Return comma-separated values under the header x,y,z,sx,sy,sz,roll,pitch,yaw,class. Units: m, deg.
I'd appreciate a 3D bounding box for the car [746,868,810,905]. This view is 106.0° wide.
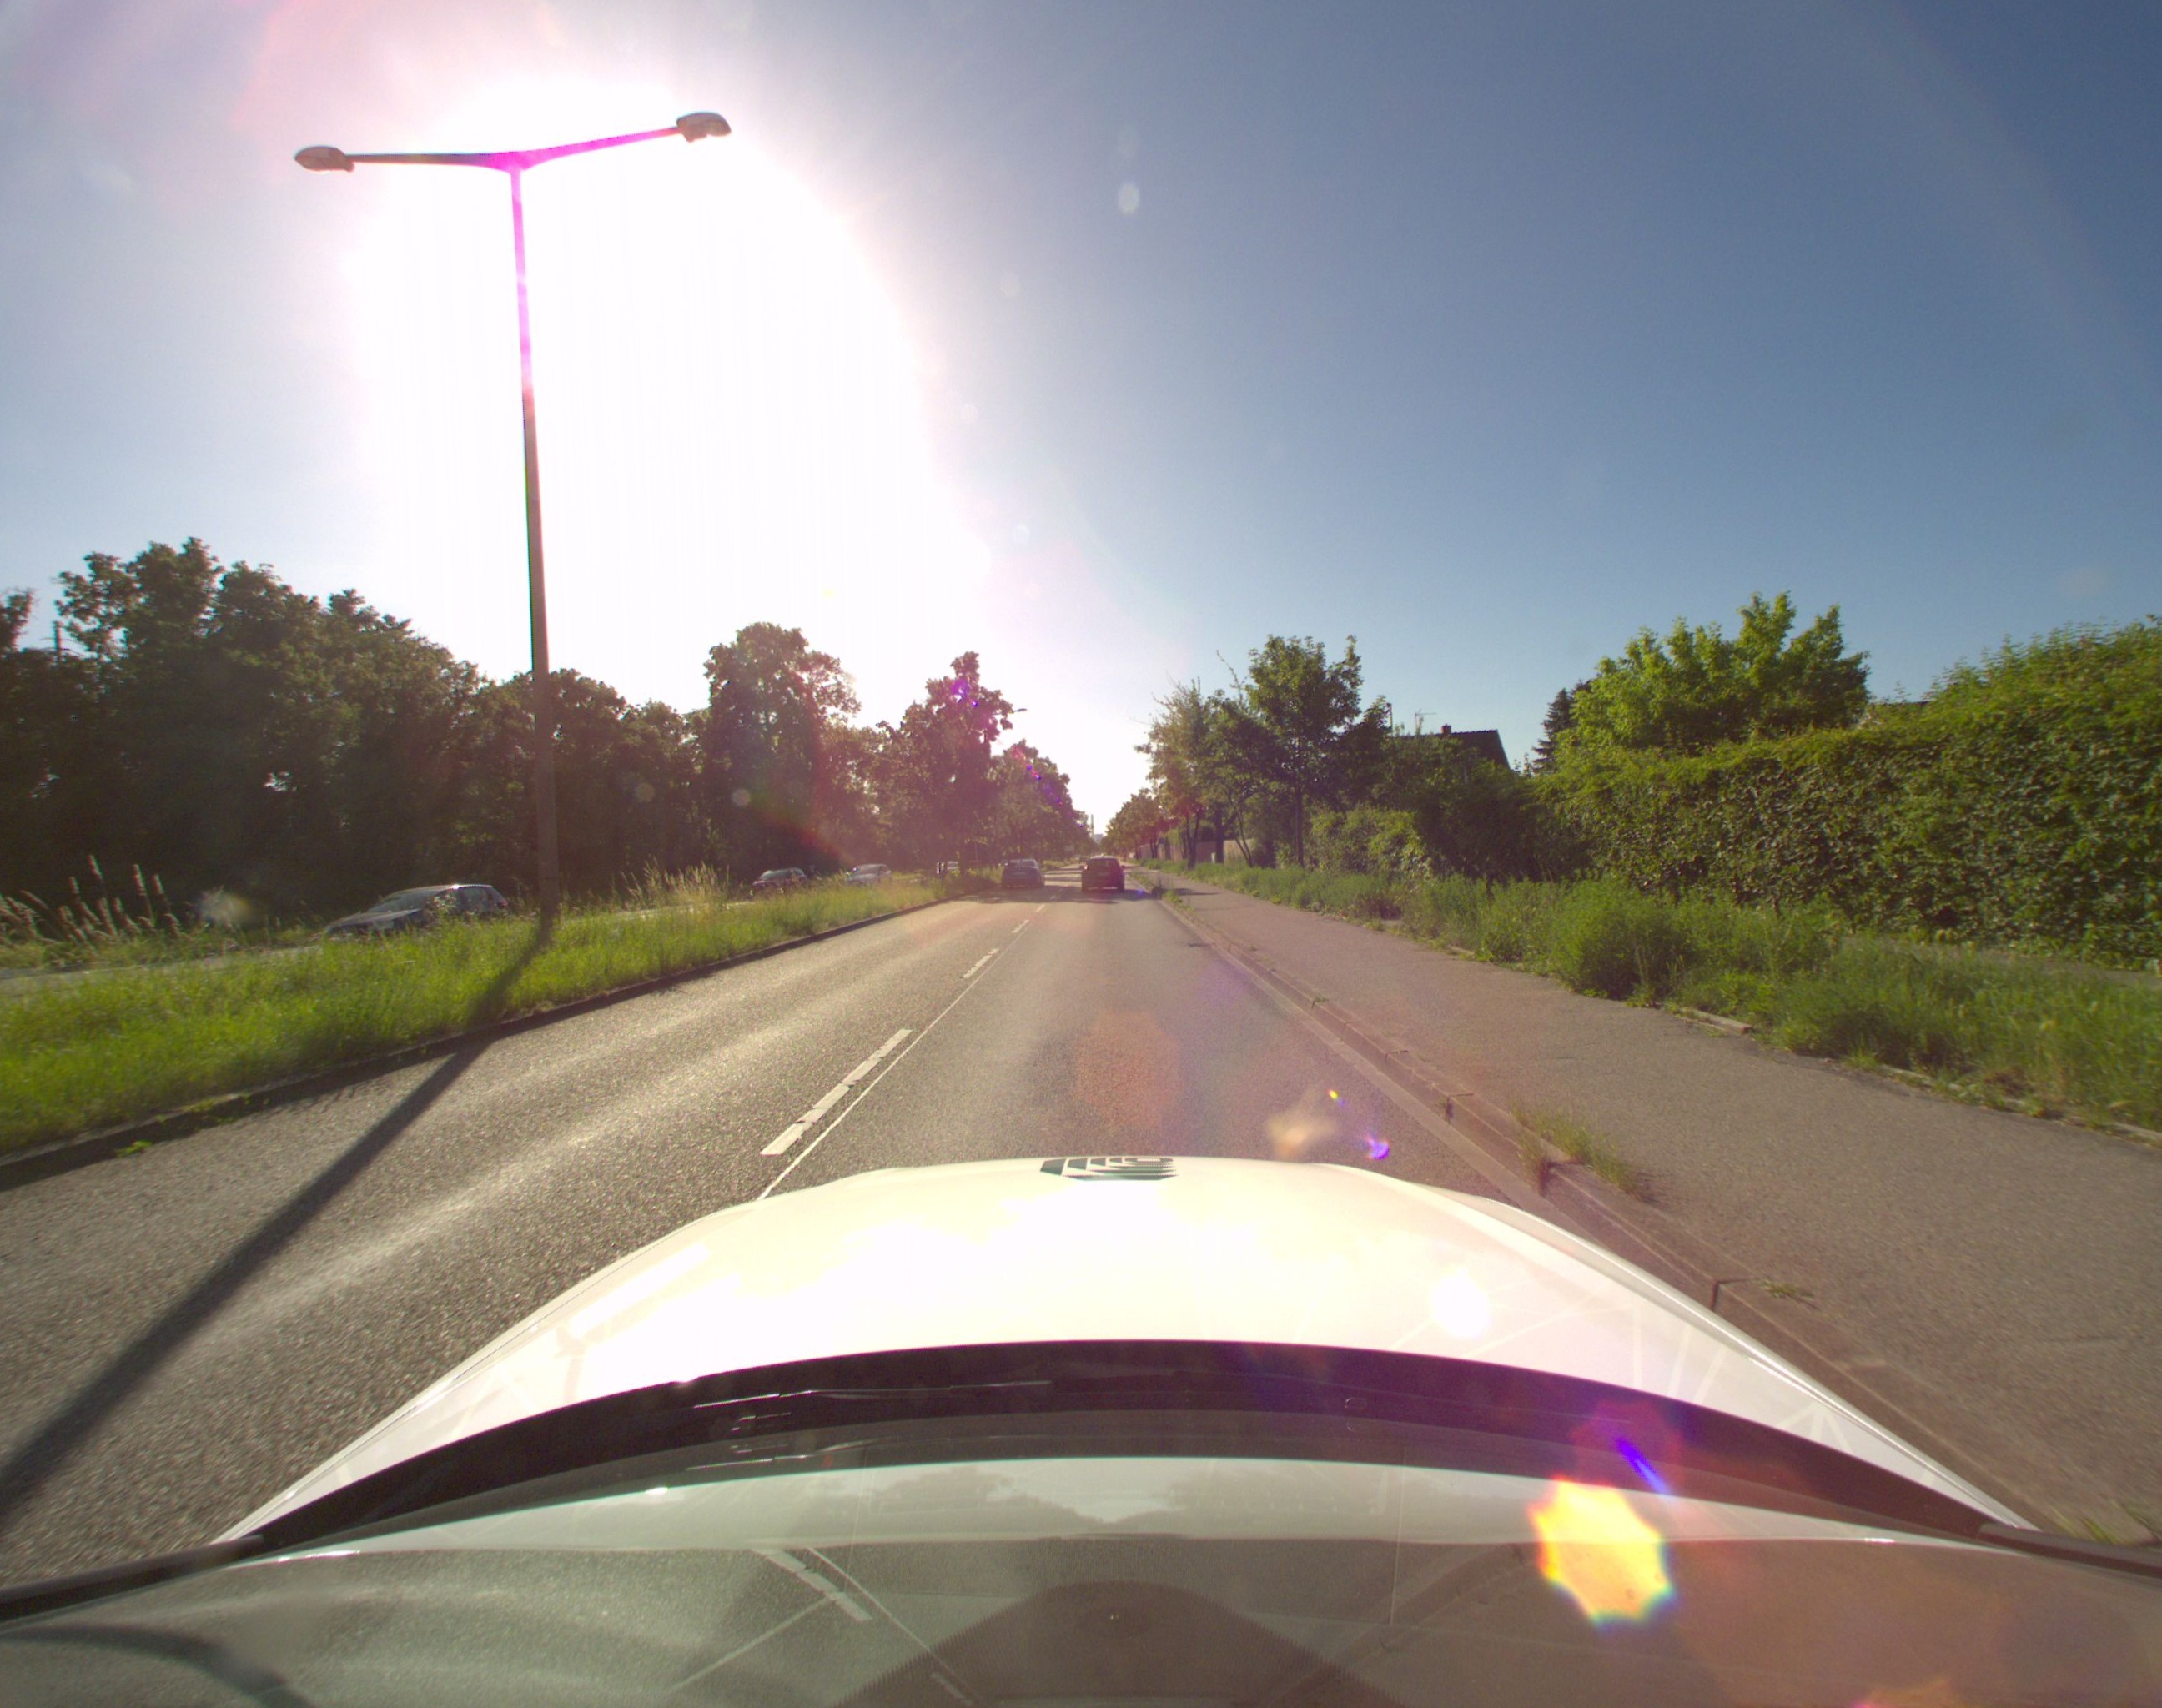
x,y,z,sx,sy,sz,roll,pitch,yaw,class
-15.227,1.597,41.145,1.599,1.563,3.999,-4,0,0,car

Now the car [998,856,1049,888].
x,y,z,sx,sy,sz,roll,pitch,yaw,class
-2.730,0.852,39.663,1.987,1.405,4.002,-2,0,2,car

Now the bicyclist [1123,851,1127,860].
x,y,z,sx,sy,sz,roll,pitch,yaw,class
7.101,0.273,131.100,0.678,1.418,0.812,-2,0,1,bicyclist

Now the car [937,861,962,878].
x,y,z,sx,sy,sz,roll,pitch,yaw,class
-13.831,1.607,85.756,1.834,1.589,4.584,-3,0,0,car

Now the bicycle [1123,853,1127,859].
x,y,z,sx,sy,sz,roll,pitch,yaw,class
7.087,0.305,130.988,0.653,0.892,1.875,-2,0,1,bicycle

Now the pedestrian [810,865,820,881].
x,y,z,sx,sy,sz,roll,pitch,yaw,class
-25.163,1.758,77.140,0.542,1.460,0.917,-2,0,1,pedestrian

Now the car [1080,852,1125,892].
x,y,z,sx,sy,sz,roll,pitch,yaw,class
0.927,0.716,34.191,1.753,1.559,4.002,0,0,2,car

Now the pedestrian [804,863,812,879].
x,y,z,sx,sy,sz,roll,pitch,yaw,class
-25.848,1.597,77.072,0.542,1.460,0.596,0,-1,1,pedestrian

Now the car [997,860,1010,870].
x,y,z,sx,sy,sz,roll,pitch,yaw,class
-13.159,1.838,138.355,1.709,1.505,3.017,-4,1,1,car

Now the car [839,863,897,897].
x,y,z,sx,sy,sz,roll,pitch,yaw,class
-11.287,1.357,43.412,1.707,1.602,4.361,-2,0,3,car

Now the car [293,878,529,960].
x,y,z,sx,sy,sz,roll,pitch,yaw,class
-15.911,1.464,19.746,1.799,1.500,4.596,-4,0,1,car

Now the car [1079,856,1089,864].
x,y,z,sx,sy,sz,roll,pitch,yaw,class
0.622,1.202,172.029,1.973,1.440,3.996,-2,1,-3,car
